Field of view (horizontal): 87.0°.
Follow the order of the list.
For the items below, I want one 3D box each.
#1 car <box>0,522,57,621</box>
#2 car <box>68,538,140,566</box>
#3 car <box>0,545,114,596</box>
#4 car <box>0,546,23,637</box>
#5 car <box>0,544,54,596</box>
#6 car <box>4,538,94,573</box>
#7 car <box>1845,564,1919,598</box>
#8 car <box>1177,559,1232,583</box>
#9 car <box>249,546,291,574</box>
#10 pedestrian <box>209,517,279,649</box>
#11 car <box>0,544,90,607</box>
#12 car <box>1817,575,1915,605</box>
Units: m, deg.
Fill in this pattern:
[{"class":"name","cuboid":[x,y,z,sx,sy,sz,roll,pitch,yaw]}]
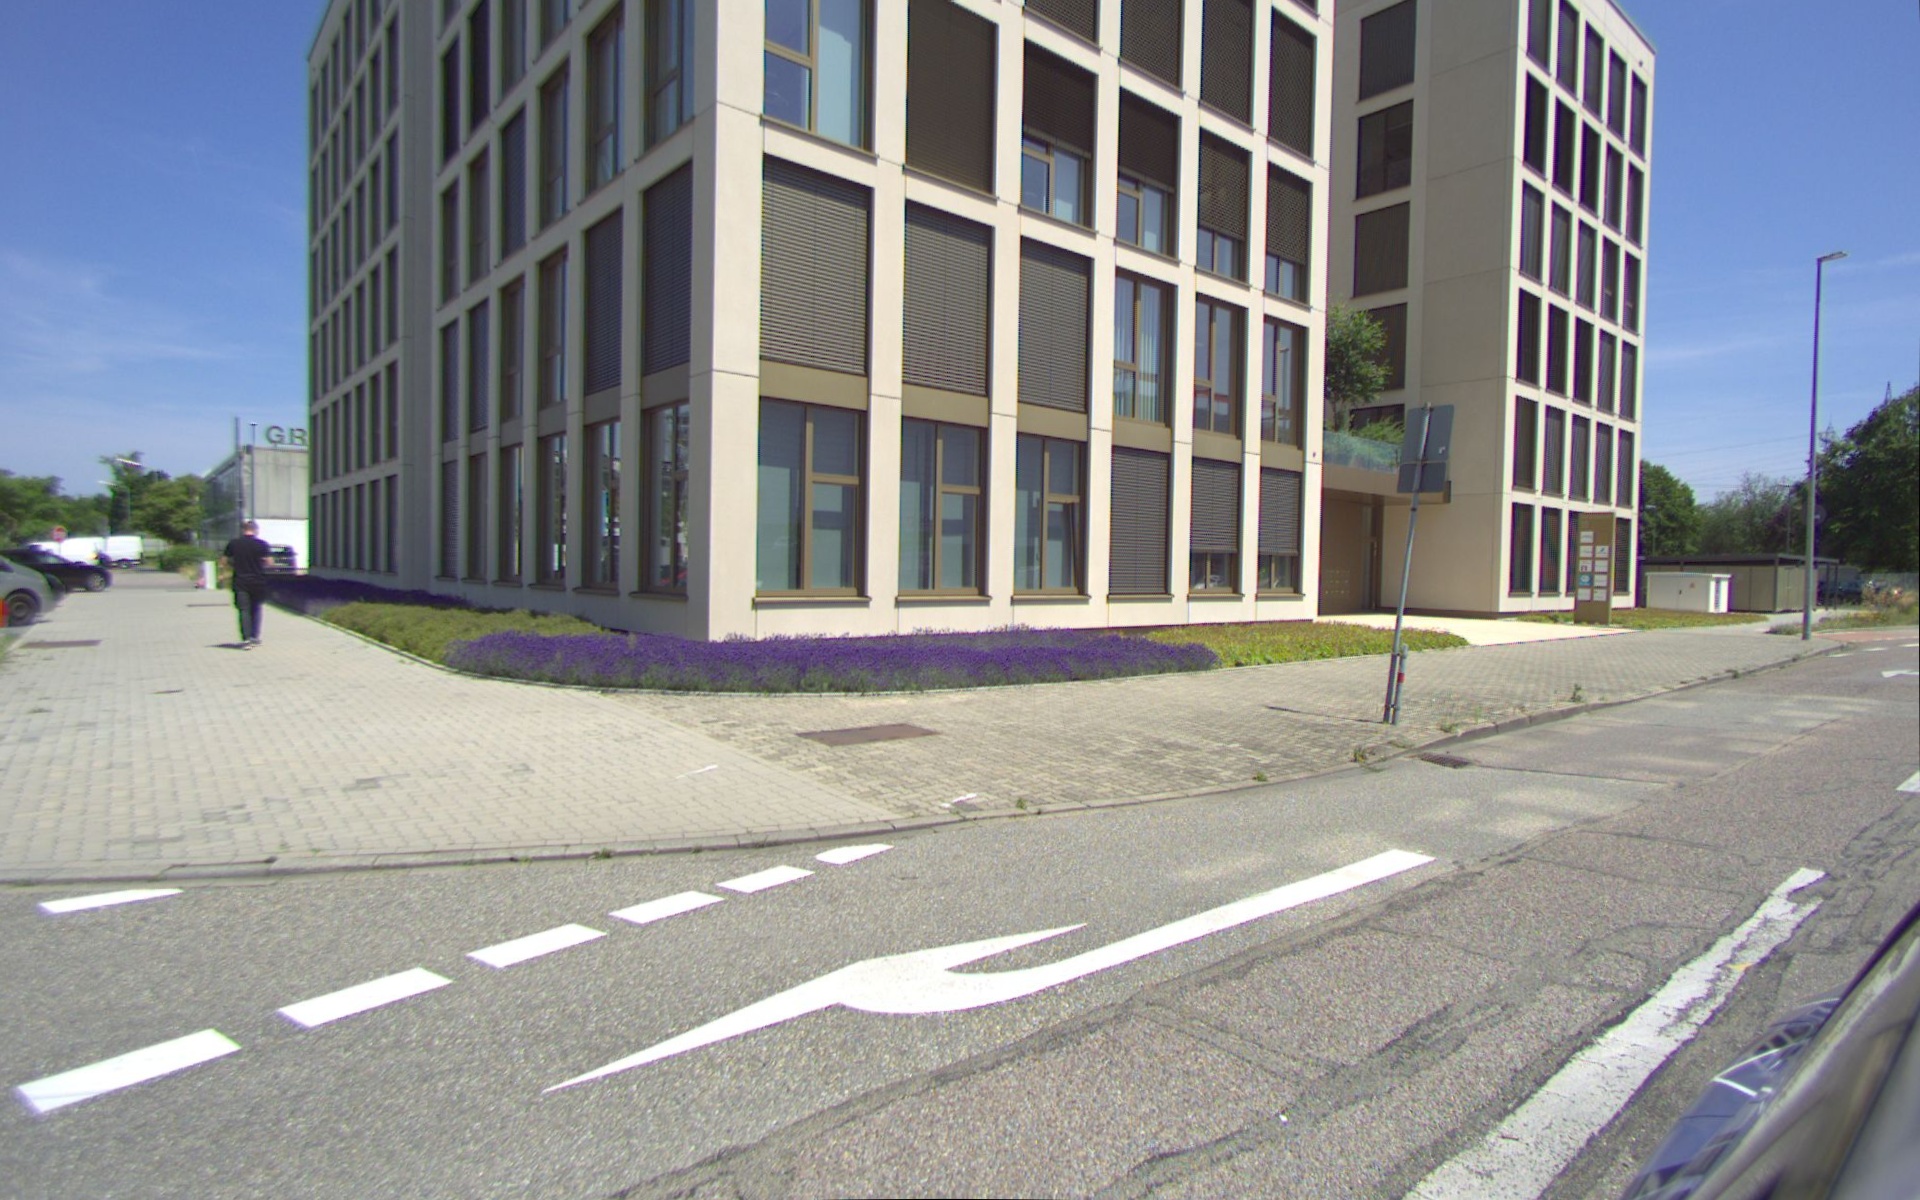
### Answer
[{"class":"car","cuboid":[-18.827,-0.493,17.512,1.676,1.838,4.899,1,2,7]},{"class":"car","cuboid":[-68.538,-3.818,81.118,4.281,2.146,2.094,0,2,-37]},{"class":"car","cuboid":[-30.253,-0.976,32.687,1.792,1.557,4.132,0,3,19]},{"class":"car","cuboid":[-16.382,-0.081,14.689,1.584,1.452,3.992,1,2,9]},{"class":"car","cuboid":[-28.010,-0.848,28.167,1.692,1.482,3.988,1,2,11]},{"class":"car","cuboid":[-55.978,-2.712,62.289,3.925,2.038,2.000,0,2,-36]},{"class":"car","cuboid":[58.016,-1.189,62.975,3.958,1.977,1.984,2,2,25]},{"class":"car","cuboid":[19.333,-2.286,79.934,3.921,1.874,2.002,0,2,-31]},{"class":"car","cuboid":[-39.111,-2.280,57.347,1.757,1.540,3.575,-1,3,-38]},{"class":"pedestrian","cuboid":[-10.487,-0.268,14.860,0.758,1.867,0.869,-1,3,-32]},{"class":"car","cuboid":[-23.162,-0.593,23.805,1.691,1.482,3.991,1,2,9]},{"class":"car","cuboid":[54.523,-0.617,60.980,3.960,1.682,1.822,2,2,26]}]
